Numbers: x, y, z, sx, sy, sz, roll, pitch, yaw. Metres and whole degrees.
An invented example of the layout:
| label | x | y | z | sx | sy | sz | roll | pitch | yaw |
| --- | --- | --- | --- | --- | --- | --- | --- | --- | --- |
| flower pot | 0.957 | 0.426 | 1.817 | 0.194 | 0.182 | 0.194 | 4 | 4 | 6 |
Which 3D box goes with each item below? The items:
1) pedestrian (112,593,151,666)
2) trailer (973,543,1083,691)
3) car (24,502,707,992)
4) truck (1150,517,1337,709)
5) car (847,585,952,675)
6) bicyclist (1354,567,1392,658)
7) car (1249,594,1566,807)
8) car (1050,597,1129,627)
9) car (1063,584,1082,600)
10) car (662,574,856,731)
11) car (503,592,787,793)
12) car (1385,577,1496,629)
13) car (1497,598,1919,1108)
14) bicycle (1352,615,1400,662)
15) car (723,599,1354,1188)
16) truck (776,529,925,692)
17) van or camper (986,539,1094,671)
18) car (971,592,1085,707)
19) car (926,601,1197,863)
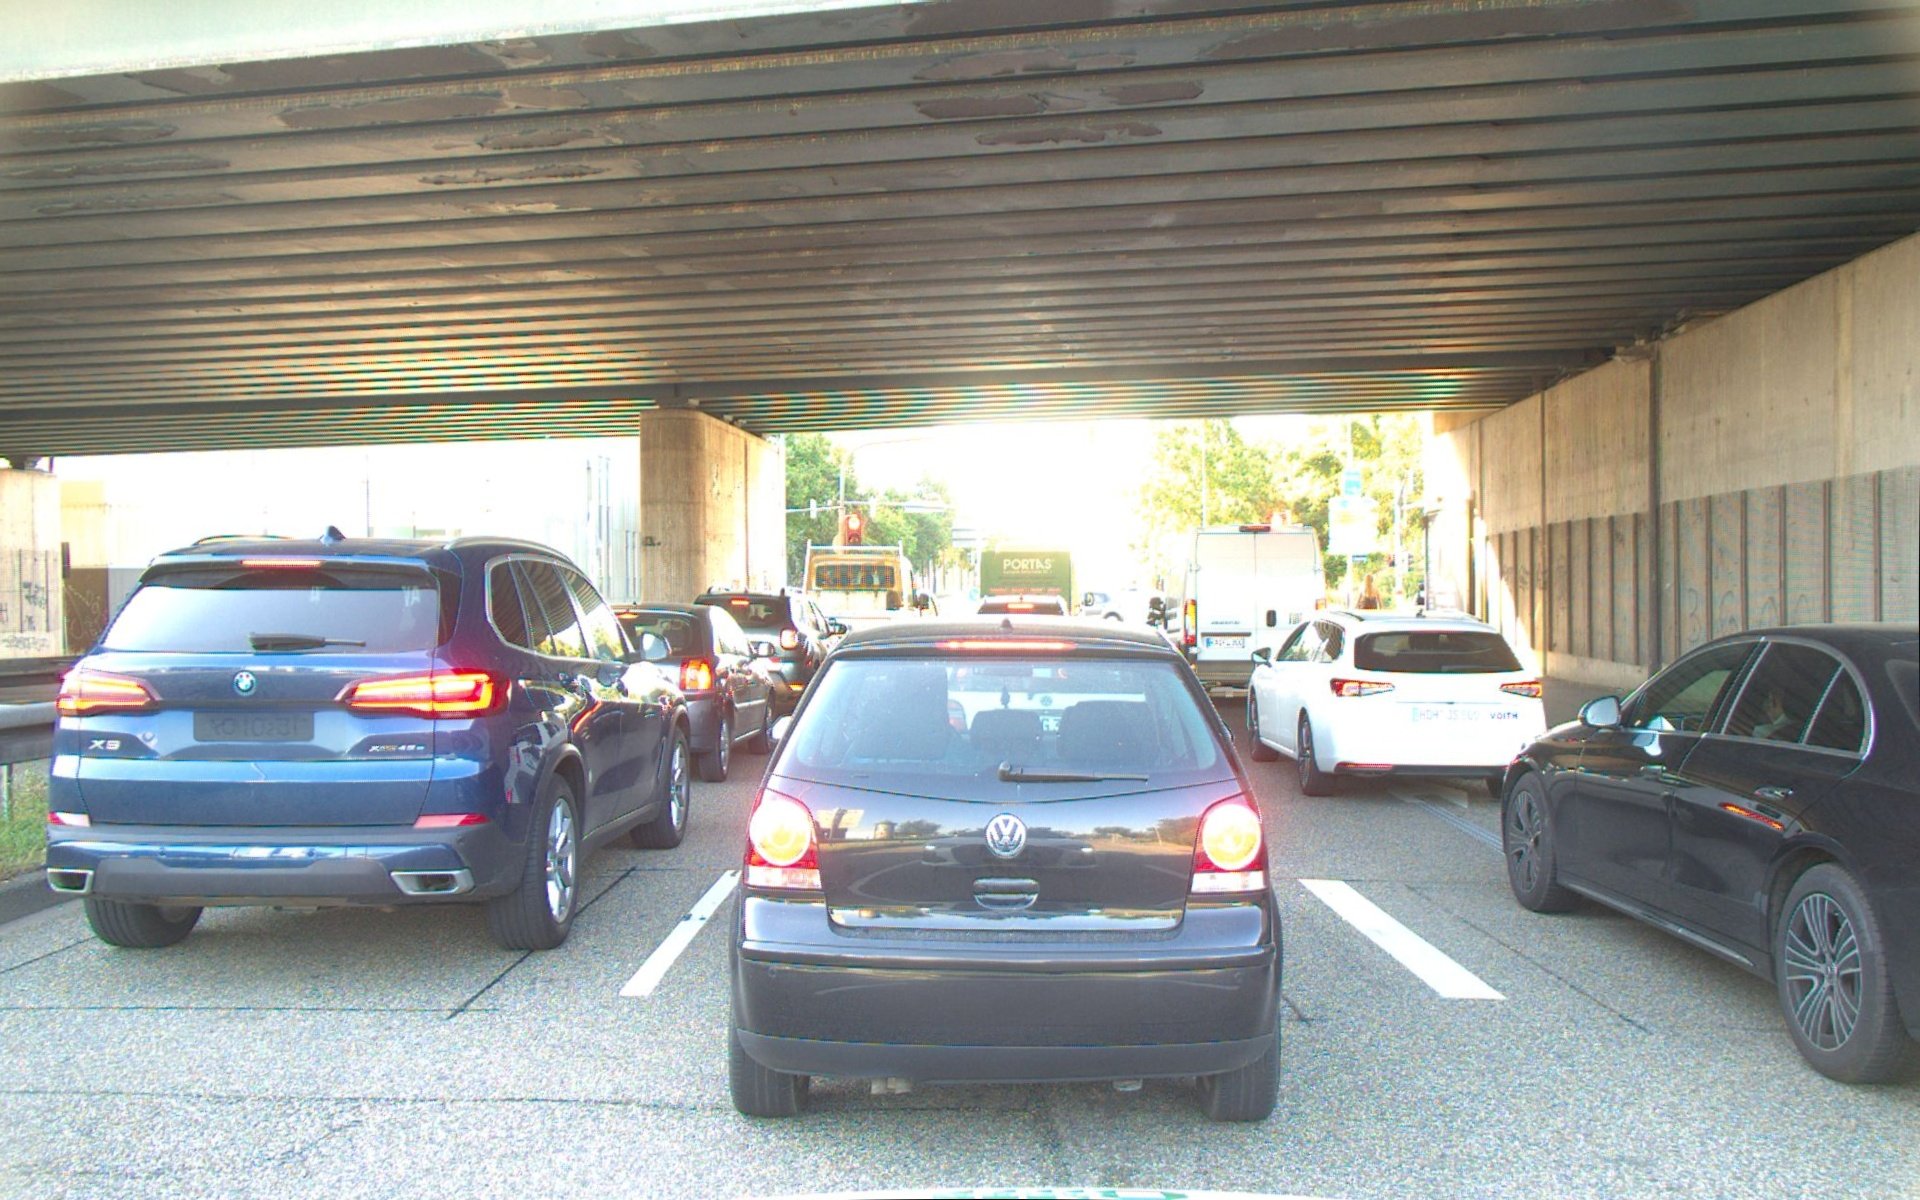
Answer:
| label | x | y | z | sx | sy | sz | roll | pitch | yaw |
| --- | --- | --- | --- | --- | --- | --- | --- | --- | --- |
| pedestrian | -22.270 | 0.784 | 44.461 | 0.679 | 1.937 | 0.665 | 0 | -1 | 4 |
| trailer | 1.309 | 0.330 | 30.501 | 1.825 | 2.508 | 3.833 | -2 | -1 | 4 |
| car | -2.516 | 0.570 | 8.280 | 1.792 | 1.769 | 4.461 | -1 | -1 | 0 |
| truck | 4.143 | 0.205 | 24.917 | 2.068 | 2.564 | 4.401 | -2 | -1 | 1 |
| car | -1.316 | 0.681 | 37.567 | 1.951 | 1.934 | 4.002 | 0 | -1 | 4 |
| bicyclist | 8.980 | 0.278 | 35.968 | 0.667 | 1.940 | 0.834 | 0 | -1 | 6 |
| car | 3.624 | 0.768 | 14.086 | 1.735 | 1.521 | 3.832 | -2 | -1 | 2 |
| car | 4.843 | 0.442 | 62.020 | 2.769 | 1.100 | 1.216 | 0 | -1 | -7 |
| car | 10.027 | -0.691 | 147.383 | 1.312 | 1.304 | 2.892 | -3 | -1 | -2 |
| car | -2.506 | 0.638 | 21.584 | 1.803 | 1.749 | 4.001 | -3 | -1 | 2 |
| car | -2.664 | 0.750 | 14.841 | 1.804 | 1.465 | 3.674 | -3 | -1 | -1 |
| car | 18.036 | 0.124 | 62.184 | 3.714 | 1.713 | 1.666 | -4 | -1 | 8 |
| car | 3.725 | 0.762 | 6.526 | 1.705 | 1.480 | 4.606 | 0 | 1 | 0 |
| bicycle | 8.985 | 0.827 | 35.835 | 0.566 | 0.980 | 2.888 | 0 | -1 | 5 |
| car | 0.148 | 0.753 | 5.982 | 1.550 | 1.433 | 3.830 | 0 | -1 | -2 |
| truck | -1.823 | 0.211 | 29.358 | 1.985 | 2.601 | 5.539 | 0 | -1 | 3 |
| van or camper | 1.819 | 0.141 | 35.808 | 1.951 | 2.616 | 5.921 | 0 | -1 | 6 |
| car | 1.004 | 0.707 | 24.336 | 1.549 | 1.559 | 3.833 | 0 | -1 | 2 |
| car | 0.622 | 0.760 | 11.232 | 1.515 | 1.448 | 3.418 | 2 | 0 | 1 |
